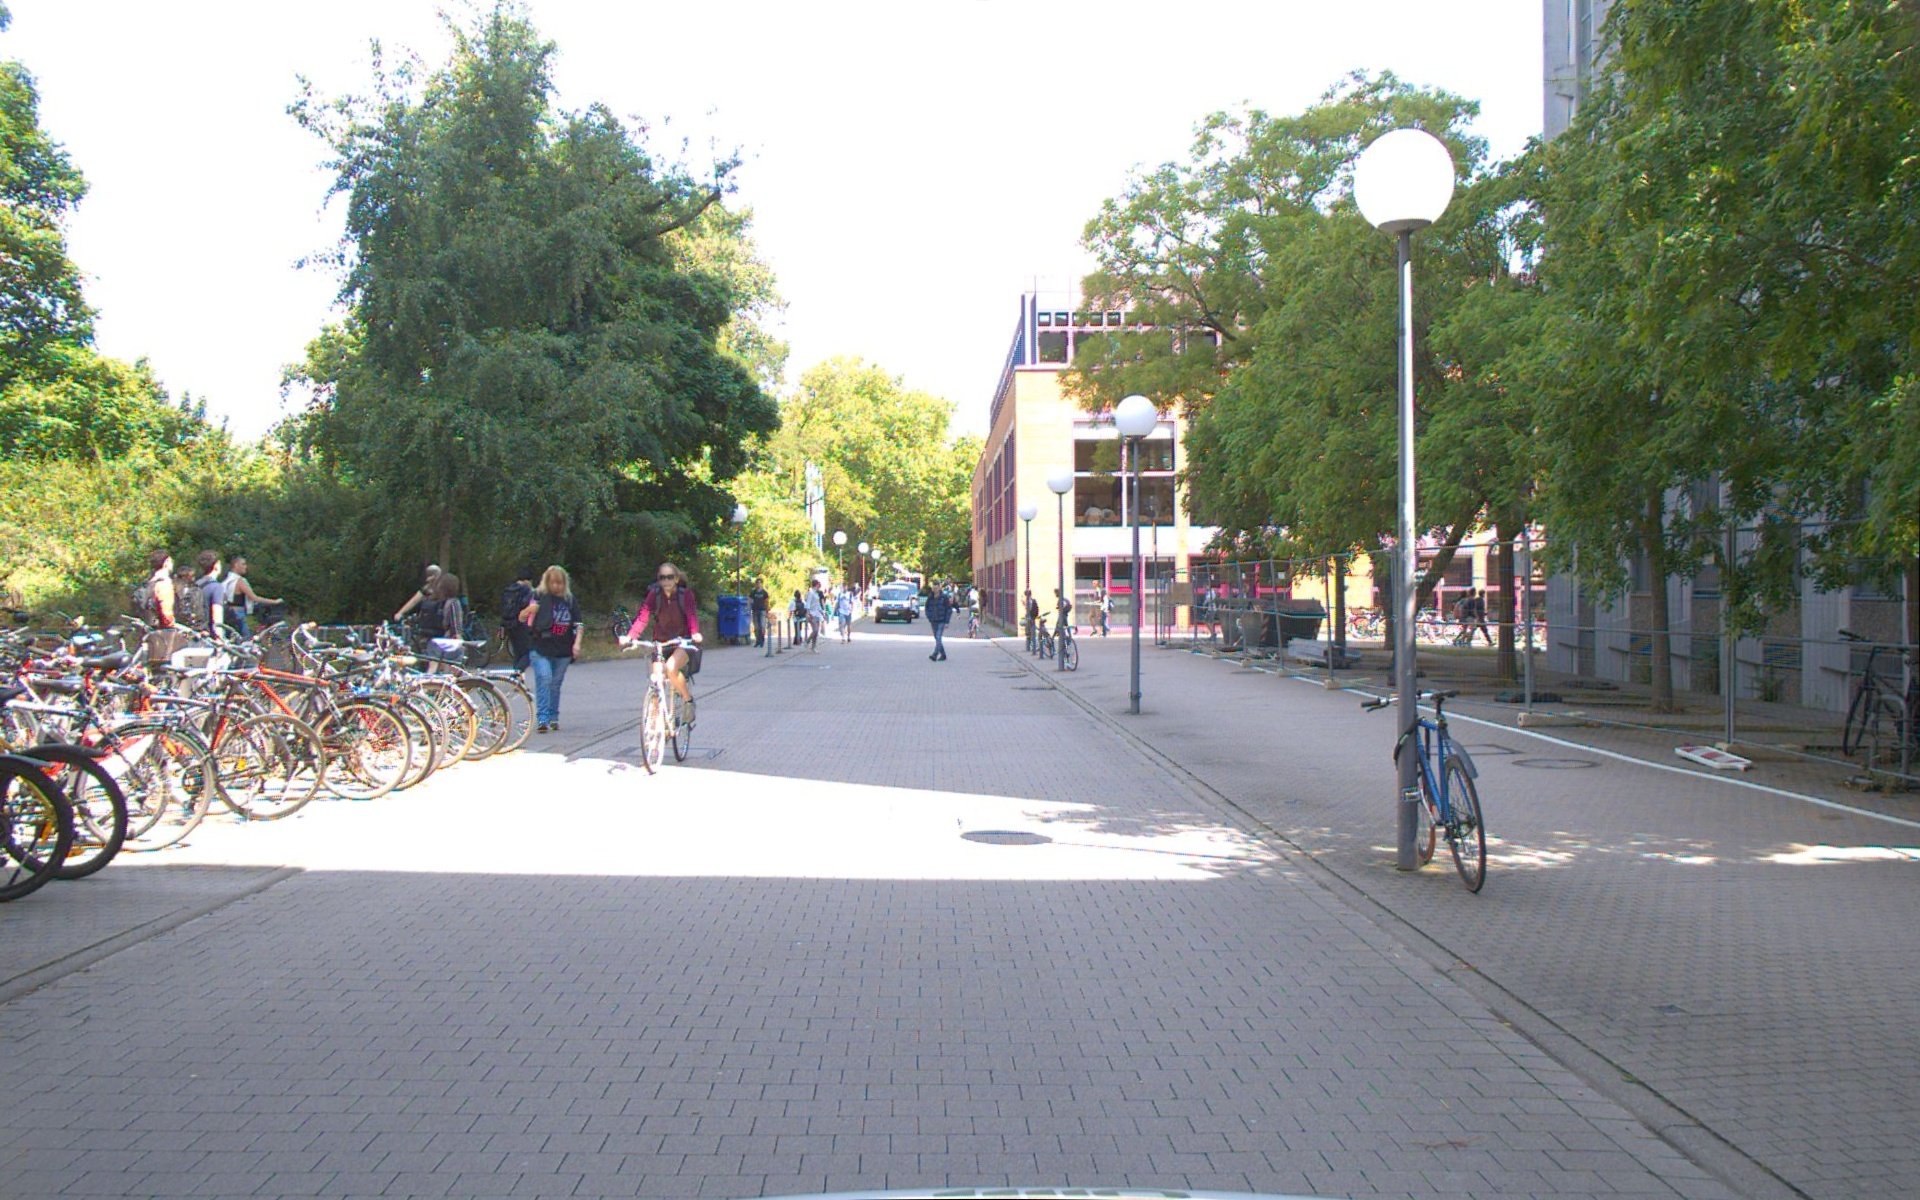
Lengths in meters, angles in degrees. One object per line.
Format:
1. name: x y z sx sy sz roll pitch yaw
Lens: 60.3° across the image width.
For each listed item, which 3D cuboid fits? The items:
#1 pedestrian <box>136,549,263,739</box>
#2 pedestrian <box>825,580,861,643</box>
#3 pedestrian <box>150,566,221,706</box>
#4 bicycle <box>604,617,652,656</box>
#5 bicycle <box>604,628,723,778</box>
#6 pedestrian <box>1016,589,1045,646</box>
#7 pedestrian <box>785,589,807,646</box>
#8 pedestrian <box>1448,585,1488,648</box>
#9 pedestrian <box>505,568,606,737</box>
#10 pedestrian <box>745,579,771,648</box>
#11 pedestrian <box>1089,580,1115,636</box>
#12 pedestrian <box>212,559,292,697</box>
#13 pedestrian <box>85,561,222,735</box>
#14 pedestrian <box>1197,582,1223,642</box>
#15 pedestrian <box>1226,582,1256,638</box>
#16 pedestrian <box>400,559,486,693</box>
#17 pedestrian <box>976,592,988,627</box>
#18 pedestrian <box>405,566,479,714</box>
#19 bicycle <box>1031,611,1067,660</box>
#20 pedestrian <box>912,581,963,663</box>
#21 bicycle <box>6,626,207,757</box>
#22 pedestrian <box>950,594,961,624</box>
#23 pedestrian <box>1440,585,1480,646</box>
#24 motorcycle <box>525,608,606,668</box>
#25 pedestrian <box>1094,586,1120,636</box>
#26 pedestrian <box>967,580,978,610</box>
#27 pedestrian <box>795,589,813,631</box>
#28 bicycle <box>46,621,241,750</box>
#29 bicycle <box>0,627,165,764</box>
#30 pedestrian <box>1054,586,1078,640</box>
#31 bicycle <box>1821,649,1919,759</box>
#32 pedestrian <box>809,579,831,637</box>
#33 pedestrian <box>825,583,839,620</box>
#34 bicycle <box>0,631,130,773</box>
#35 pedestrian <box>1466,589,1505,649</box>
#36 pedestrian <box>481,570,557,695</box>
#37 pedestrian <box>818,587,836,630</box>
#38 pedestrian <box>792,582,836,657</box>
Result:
1. pedestrian: -7.721 0.419 16.810 0.672 1.867 0.938 0 1 33
2. pedestrian: -3.601 0.363 51.091 0.709 1.914 1.082 0 -1 21
3. pedestrian: -9.943 0.441 21.234 0.679 1.754 0.721 -1 1 -38
4. bicycle: -7.983 0.884 39.824 0.412 0.926 1.741 0 -1 14
5. bicycle: -2.494 0.832 14.142 0.756 1.170 2.106 1 -1 -4
6. pedestrian: 2.110 0.512 49.486 0.834 1.680 0.588 0 -1 6
7. pedestrian: -4.841 0.516 48.890 0.558 1.639 0.916 1 -1 -10
8. pedestrian: 14.410 0.465 46.936 0.884 1.759 0.684 0 -2 -6
9. pedestrian: -4.256 0.523 17.375 0.761 1.709 0.896 -1 1 -34
10. pedestrian: -5.618 0.375 46.007 0.669 1.905 1.119 1 -1 -6
11. pedestrian: 4.827 0.267 56.265 0.809 1.876 0.684 1 -1 -4
12. pedestrian: -9.234 0.350 21.588 0.922 1.754 0.672 -1 1 -24
13. pedestrian: -8.425 0.468 17.301 0.704 1.754 1.062 0 1 31
14. pedestrian: 7.765 0.375 51.371 0.750 1.826 0.588 -1 -1 6
15. pedestrian: 8.875 0.322 52.290 0.882 1.759 0.685 -1 -2 12
16. pedestrian: -7.404 0.360 23.725 0.601 1.867 1.048 0 0 30
17. pedestrian: 1.067 0.476 80.960 0.574 1.702 0.699 -1 -1 0
18. pedestrian: -6.301 0.478 20.152 0.670 1.754 0.731 1 0 -3
19. bicycle: 2.103 0.838 39.218 0.694 1.112 1.748 0 0 -2
20. pedestrian: -0.530 0.512 39.180 0.867 1.890 1.032 1 0 20
21. bicycle: -7.588 0.795 14.710 1.682 1.102 0.474 0 0 13
22. pedestrian: -0.249 0.504 94.350 0.574 1.702 0.817 -1 -1 0
23. pedestrian: 14.424 0.455 47.768 0.884 1.759 0.684 0 -2 -6
24. motorcycle: -7.709 0.728 32.242 1.990 1.065 0.471 2 1 42
25. pedestrian: 4.942 0.363 55.565 0.765 1.649 0.684 1 -1 -4
26. pedestrian: 0.701 -0.266 95.166 0.574 1.702 0.817 -1 -1 0
27. pedestrian: -6.112 0.385 64.728 0.669 1.649 0.977 1 -1 -6
28. bicycle: -7.512 0.769 15.225 1.658 1.129 0.474 0 0 11
29. bicycle: -7.650 0.799 14.152 1.658 1.102 0.474 0 0 18
30. pedestrian: 3.372 0.421 52.712 0.682 1.702 0.588 -1 -1 6
31. bicycle: 8.541 0.944 15.117 0.285 0.921 1.615 0 0 -9
32. pedestrian: -4.588 0.271 54.249 0.668 1.876 0.783 1 -1 -1
33. pedestrian: -6.543 0.090 84.432 0.668 1.876 0.783 1 -1 -1
34. bicycle: -7.678 0.815 13.617 1.658 1.102 0.474 0 0 18
35. pedestrian: 15.625 0.577 49.178 0.884 1.759 0.684 0 -2 -6
36. pedestrian: -6.363 0.455 23.880 0.669 1.754 0.904 1 0 16
37. pedestrian: -5.200 0.329 64.766 0.669 1.649 0.912 1 -1 -6
38. pedestrian: -3.747 0.488 42.382 0.773 1.877 1.109 1 0 -25
